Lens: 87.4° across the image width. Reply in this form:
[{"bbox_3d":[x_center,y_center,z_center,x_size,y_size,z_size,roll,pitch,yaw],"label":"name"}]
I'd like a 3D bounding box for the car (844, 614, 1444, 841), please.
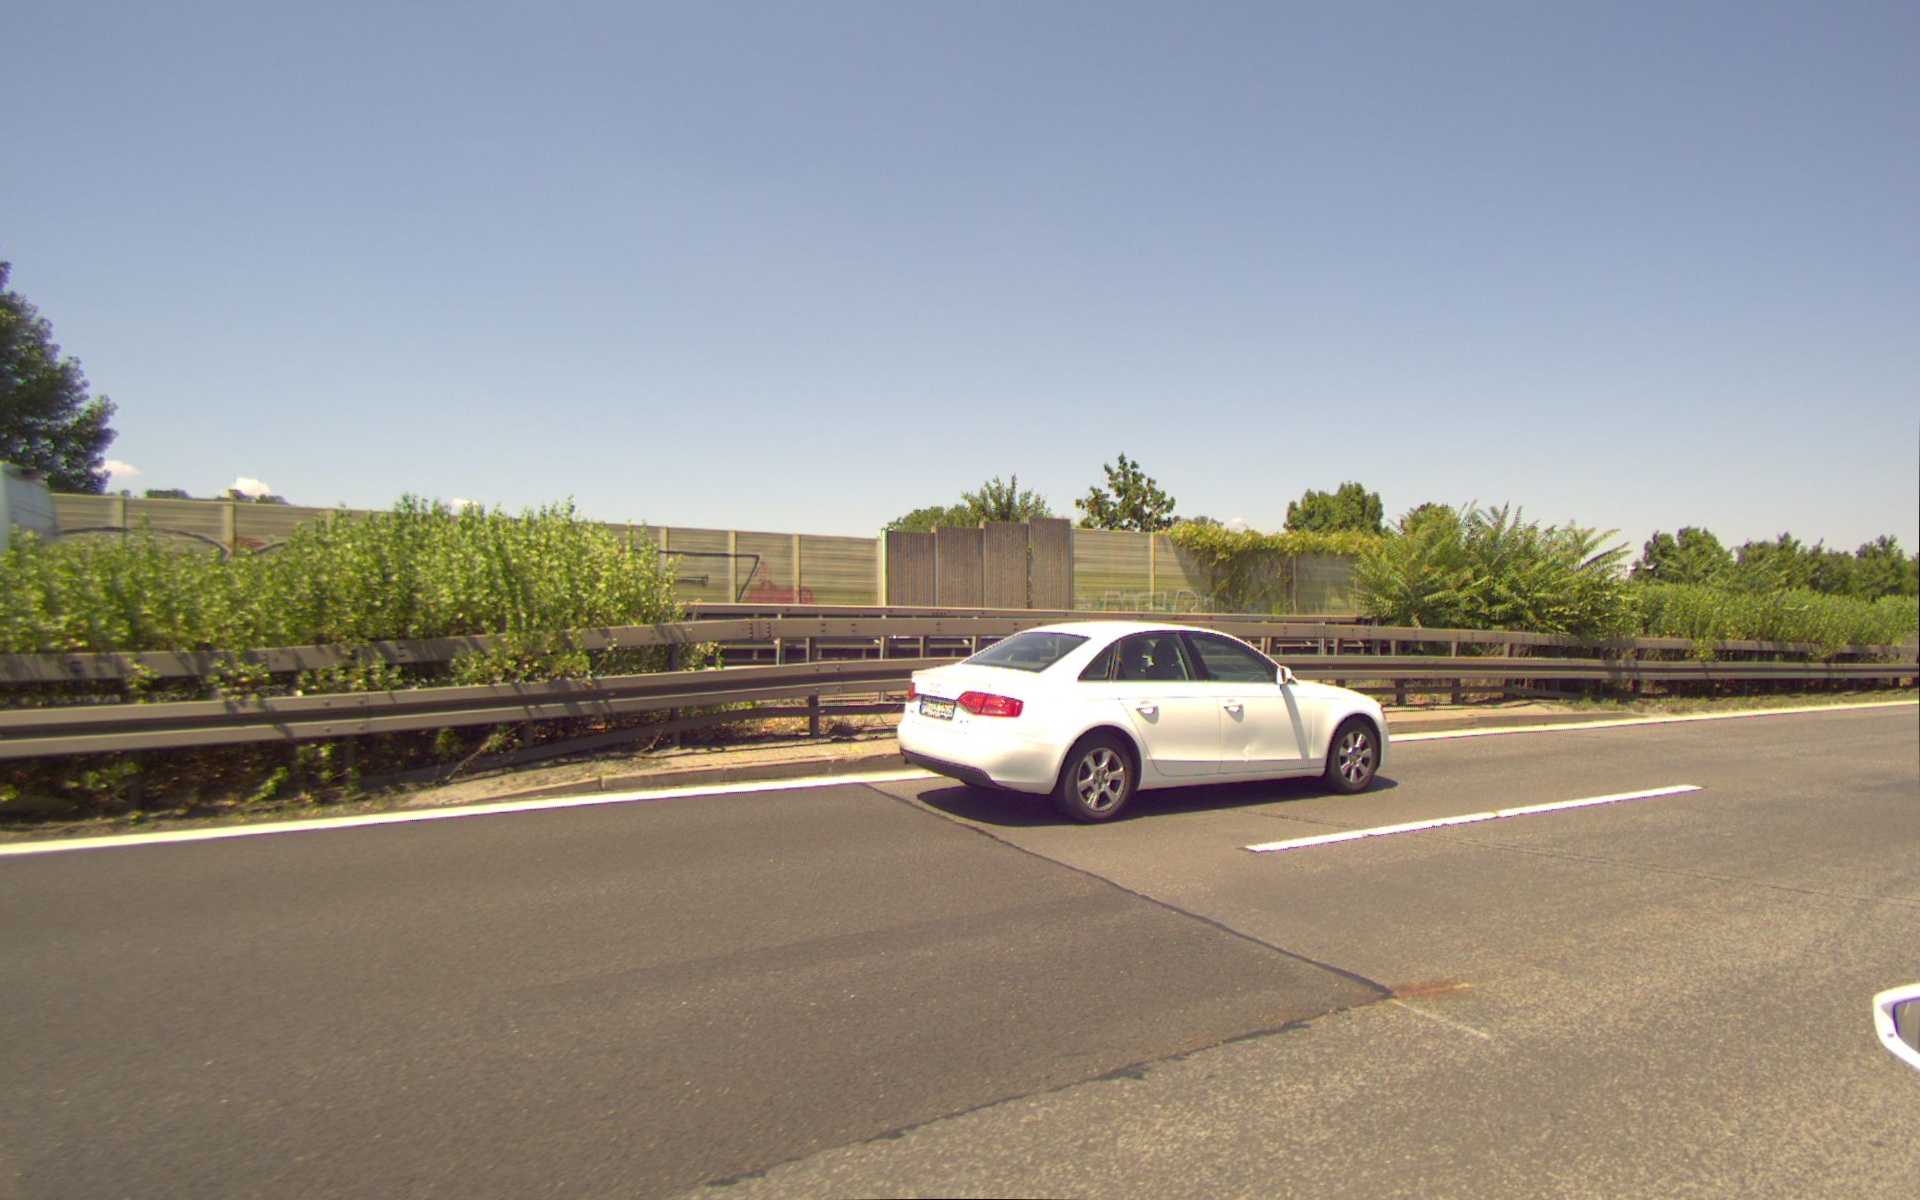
[{"bbox_3d":[1.718,0.908,8.560,5.066,1.459,1.867,2,-2,-31],"label":"car"}]

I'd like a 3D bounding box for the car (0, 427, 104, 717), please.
[{"bbox_3d":[-12.134,-0.346,9.210,6.150,2.795,2.229,2,-1,-32],"label":"car"}]
